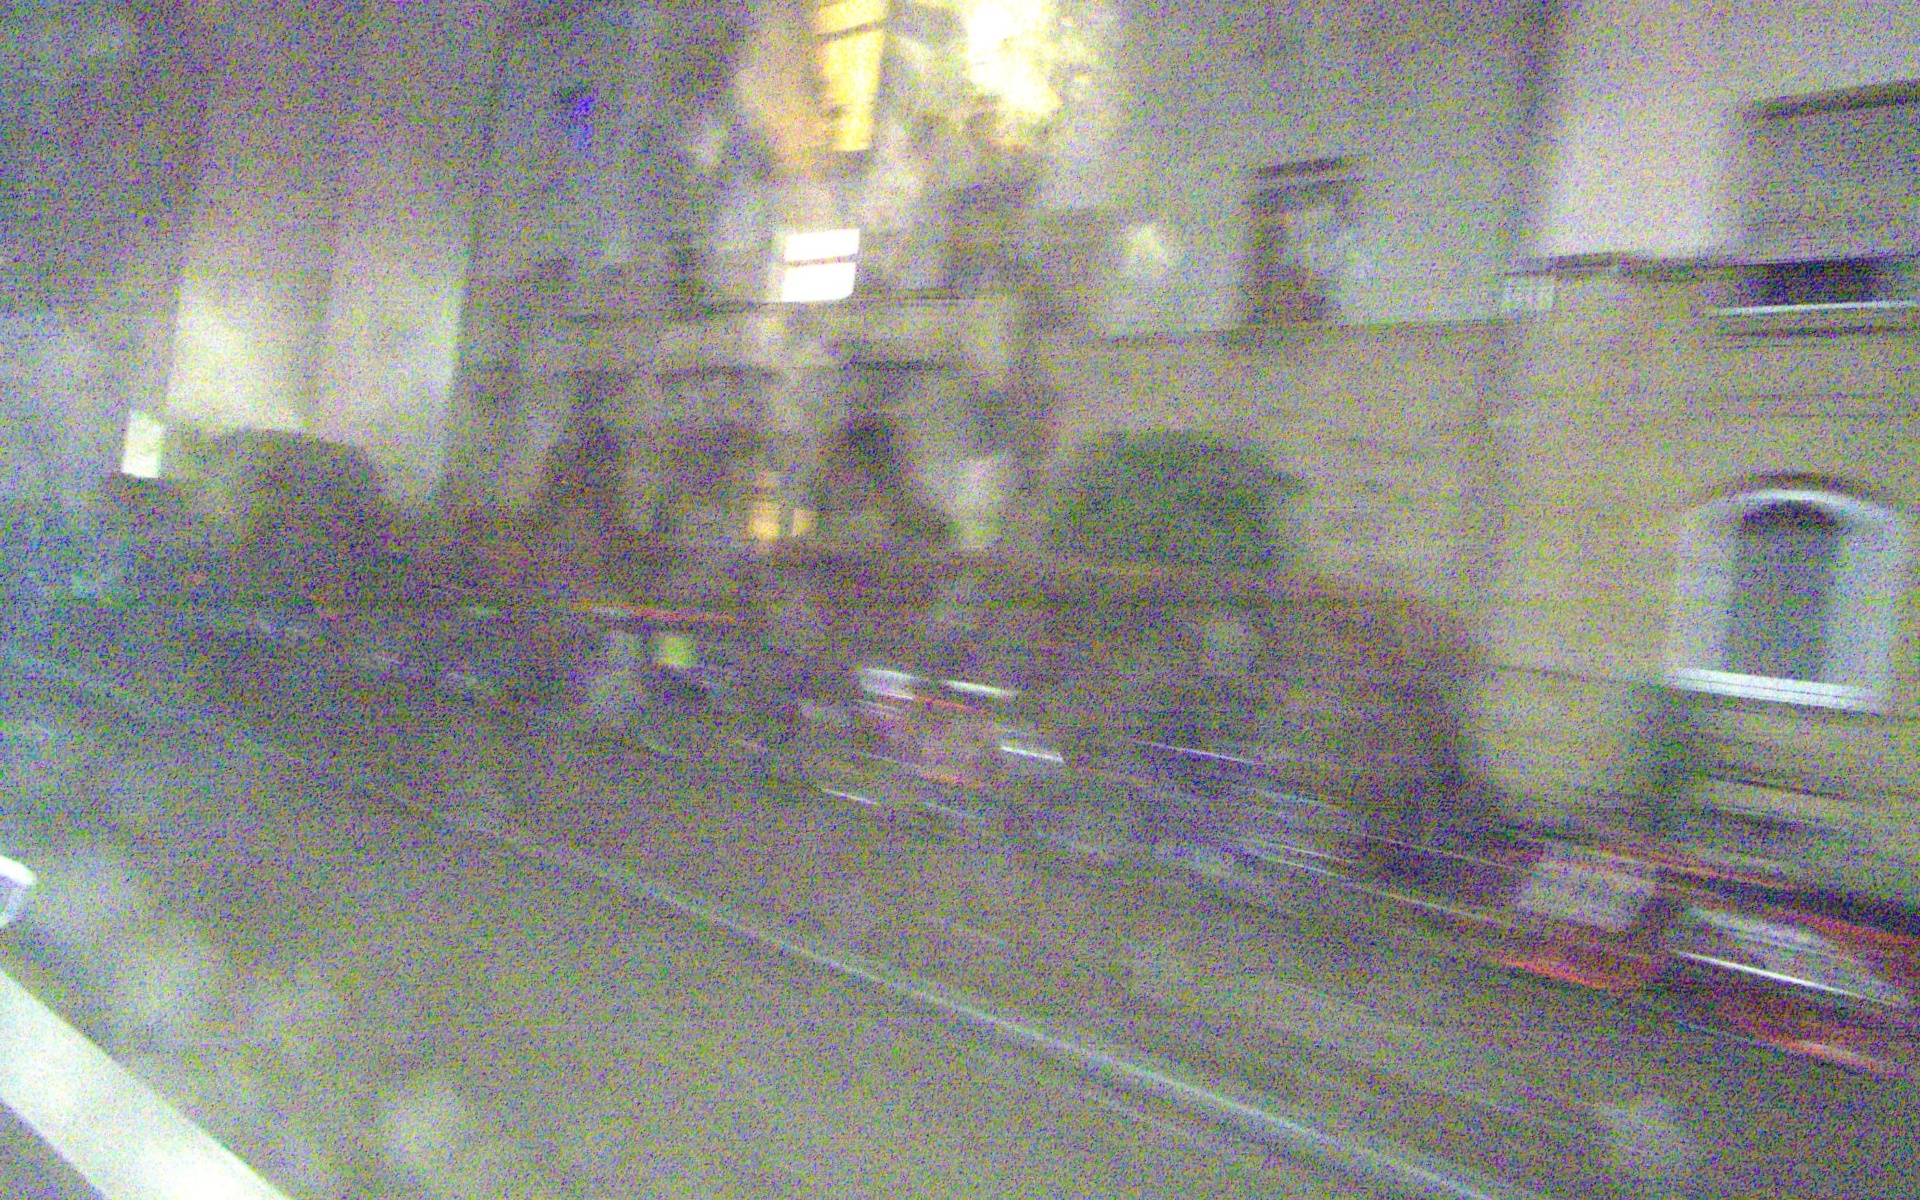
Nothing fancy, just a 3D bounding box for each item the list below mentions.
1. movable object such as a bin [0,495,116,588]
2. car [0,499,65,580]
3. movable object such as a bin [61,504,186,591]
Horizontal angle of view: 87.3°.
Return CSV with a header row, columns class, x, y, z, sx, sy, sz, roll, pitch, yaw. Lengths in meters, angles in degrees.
class,x,y,z,sx,sy,sz,roll,pitch,yaw
movable object such as a bin,-16.216,-1.035,17.920,1.007,1.424,1.354,7,-1,12
car,-19.339,-1.348,19.002,1.741,1.474,3.787,9,-3,-10
movable object such as a bin,-16.033,-0.975,19.324,1.007,1.424,1.413,7,-1,12
